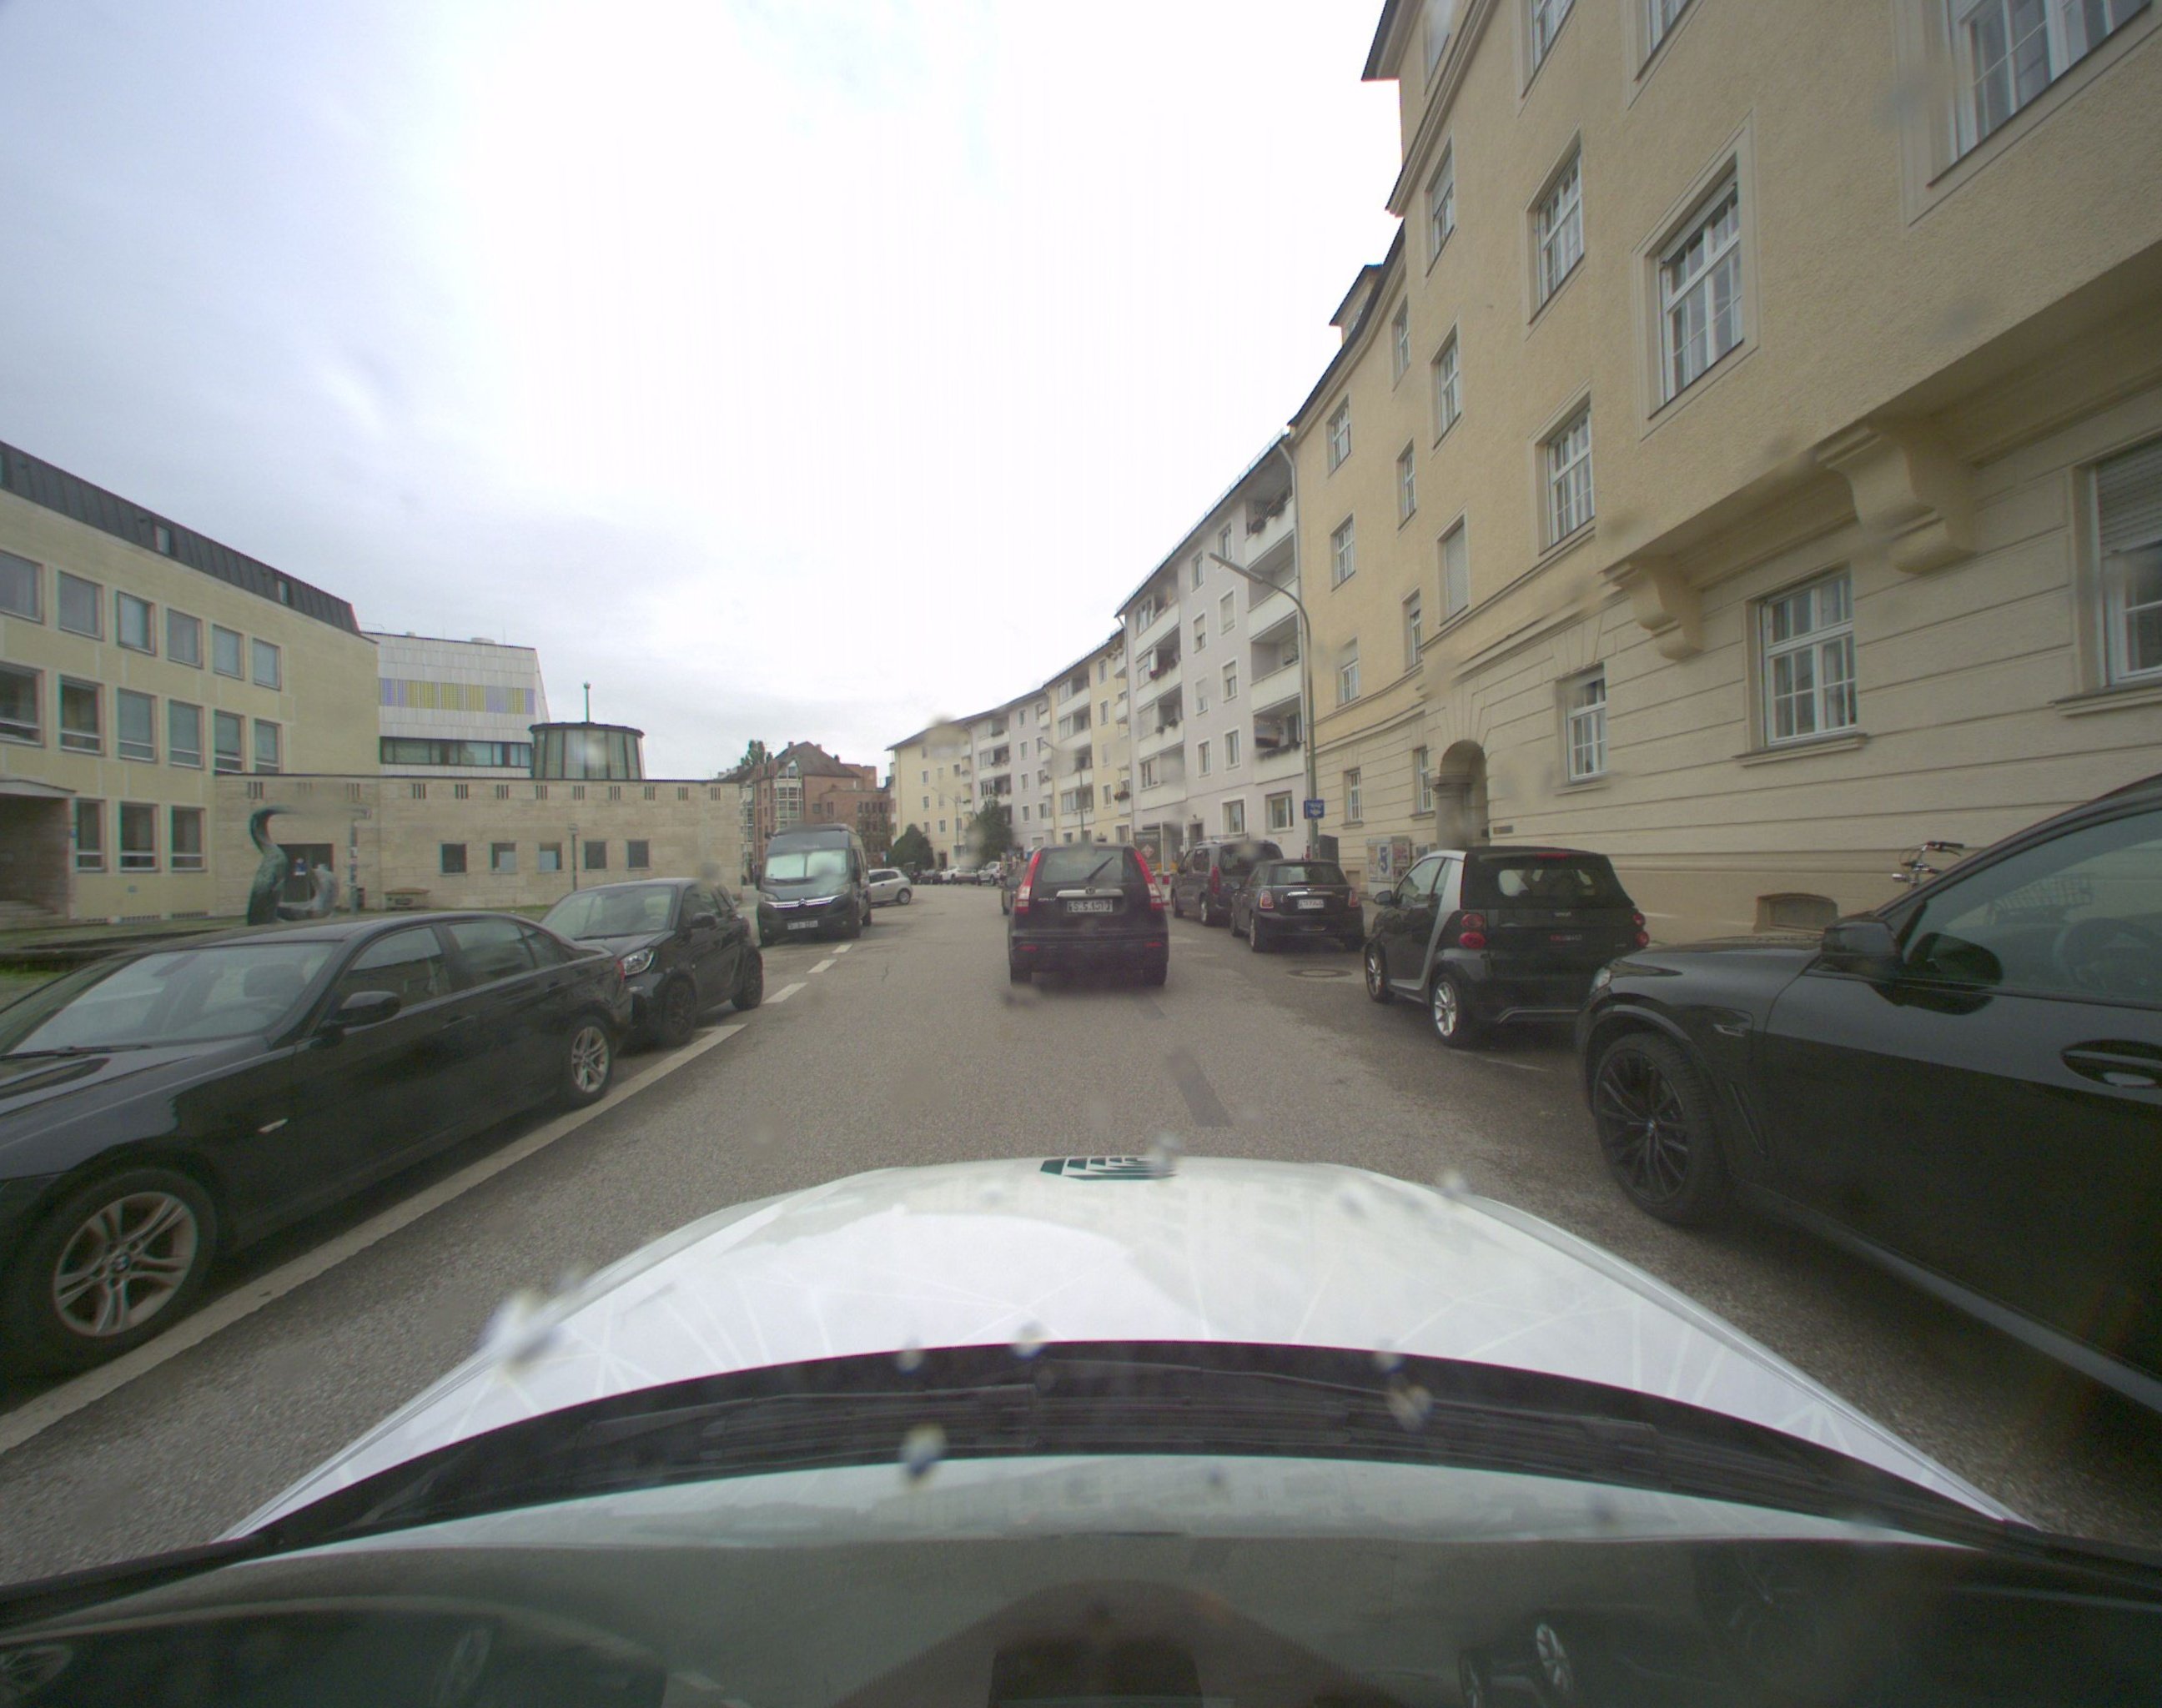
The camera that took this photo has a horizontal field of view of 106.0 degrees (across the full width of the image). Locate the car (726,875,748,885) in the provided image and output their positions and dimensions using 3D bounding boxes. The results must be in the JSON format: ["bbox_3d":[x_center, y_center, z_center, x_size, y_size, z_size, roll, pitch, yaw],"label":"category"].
[{"bbox_3d":[-50.049,3.776,118.343,1.823,1.472,4.068,-1,0,-41],"label":"car"}]

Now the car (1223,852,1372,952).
[{"bbox_3d":[3.517,0.722,13.904,1.701,1.447,3.833,-1,-1,3],"label":"car"}]

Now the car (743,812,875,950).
[{"bbox_3d":[-6.213,0.552,19.357,2.166,2.641,5.992,-3,0,-12],"label":"car"}]

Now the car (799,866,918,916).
[{"bbox_3d":[-8.594,1.398,31.664,1.663,1.481,4.113,-7,-1,41],"label":"car"}]

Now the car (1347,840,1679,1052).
[{"bbox_3d":[3.624,0.680,7.453,1.528,1.524,3.113,-1,-1,3],"label":"car"}]

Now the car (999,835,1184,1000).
[{"bbox_3d":[0.002,0.675,10.489,1.887,1.647,3.986,-2,-1,-4],"label":"car"}]

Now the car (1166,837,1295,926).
[{"bbox_3d":[3.287,0.575,18.779,1.775,1.807,4.266,0,-1,-6],"label":"car"}]

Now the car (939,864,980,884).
[{"bbox_3d":[-9.658,1.566,64.509,1.736,1.483,3.959,-1,0,-32],"label":"car"}]

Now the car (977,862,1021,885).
[{"bbox_3d":[-5.642,1.280,55.638,1.733,1.483,3.966,-1,0,-26],"label":"car"}]

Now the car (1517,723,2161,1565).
[{"bbox_3d":[3.139,0.586,1.836,1.861,1.717,4.868,-1,-1,2],"label":"car"}]

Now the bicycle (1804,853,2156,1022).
[{"bbox_3d":[6.849,0.558,6.397,0.577,1.083,1.954,-5,0,2],"label":"bicycle"}]

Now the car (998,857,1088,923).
[{"bbox_3d":[-1.092,0.869,21.195,1.680,1.481,4.069,-2,-1,-12],"label":"car"}]

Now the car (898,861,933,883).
[{"bbox_3d":[-14.793,1.608,72.628,1.736,1.878,3.959,-1,0,-32],"label":"car"}]

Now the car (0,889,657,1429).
[{"bbox_3d":[-4.147,1.018,4.148,1.795,1.406,4.449,-4,0,-4],"label":"car"}]

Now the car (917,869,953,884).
[{"bbox_3d":[-12.324,1.887,68.591,1.709,1.236,3.565,-1,0,-32],"label":"car"}]

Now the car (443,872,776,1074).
[{"bbox_3d":[-4.433,1.010,8.206,1.667,1.502,2.973,-4,0,-4],"label":"car"}]
